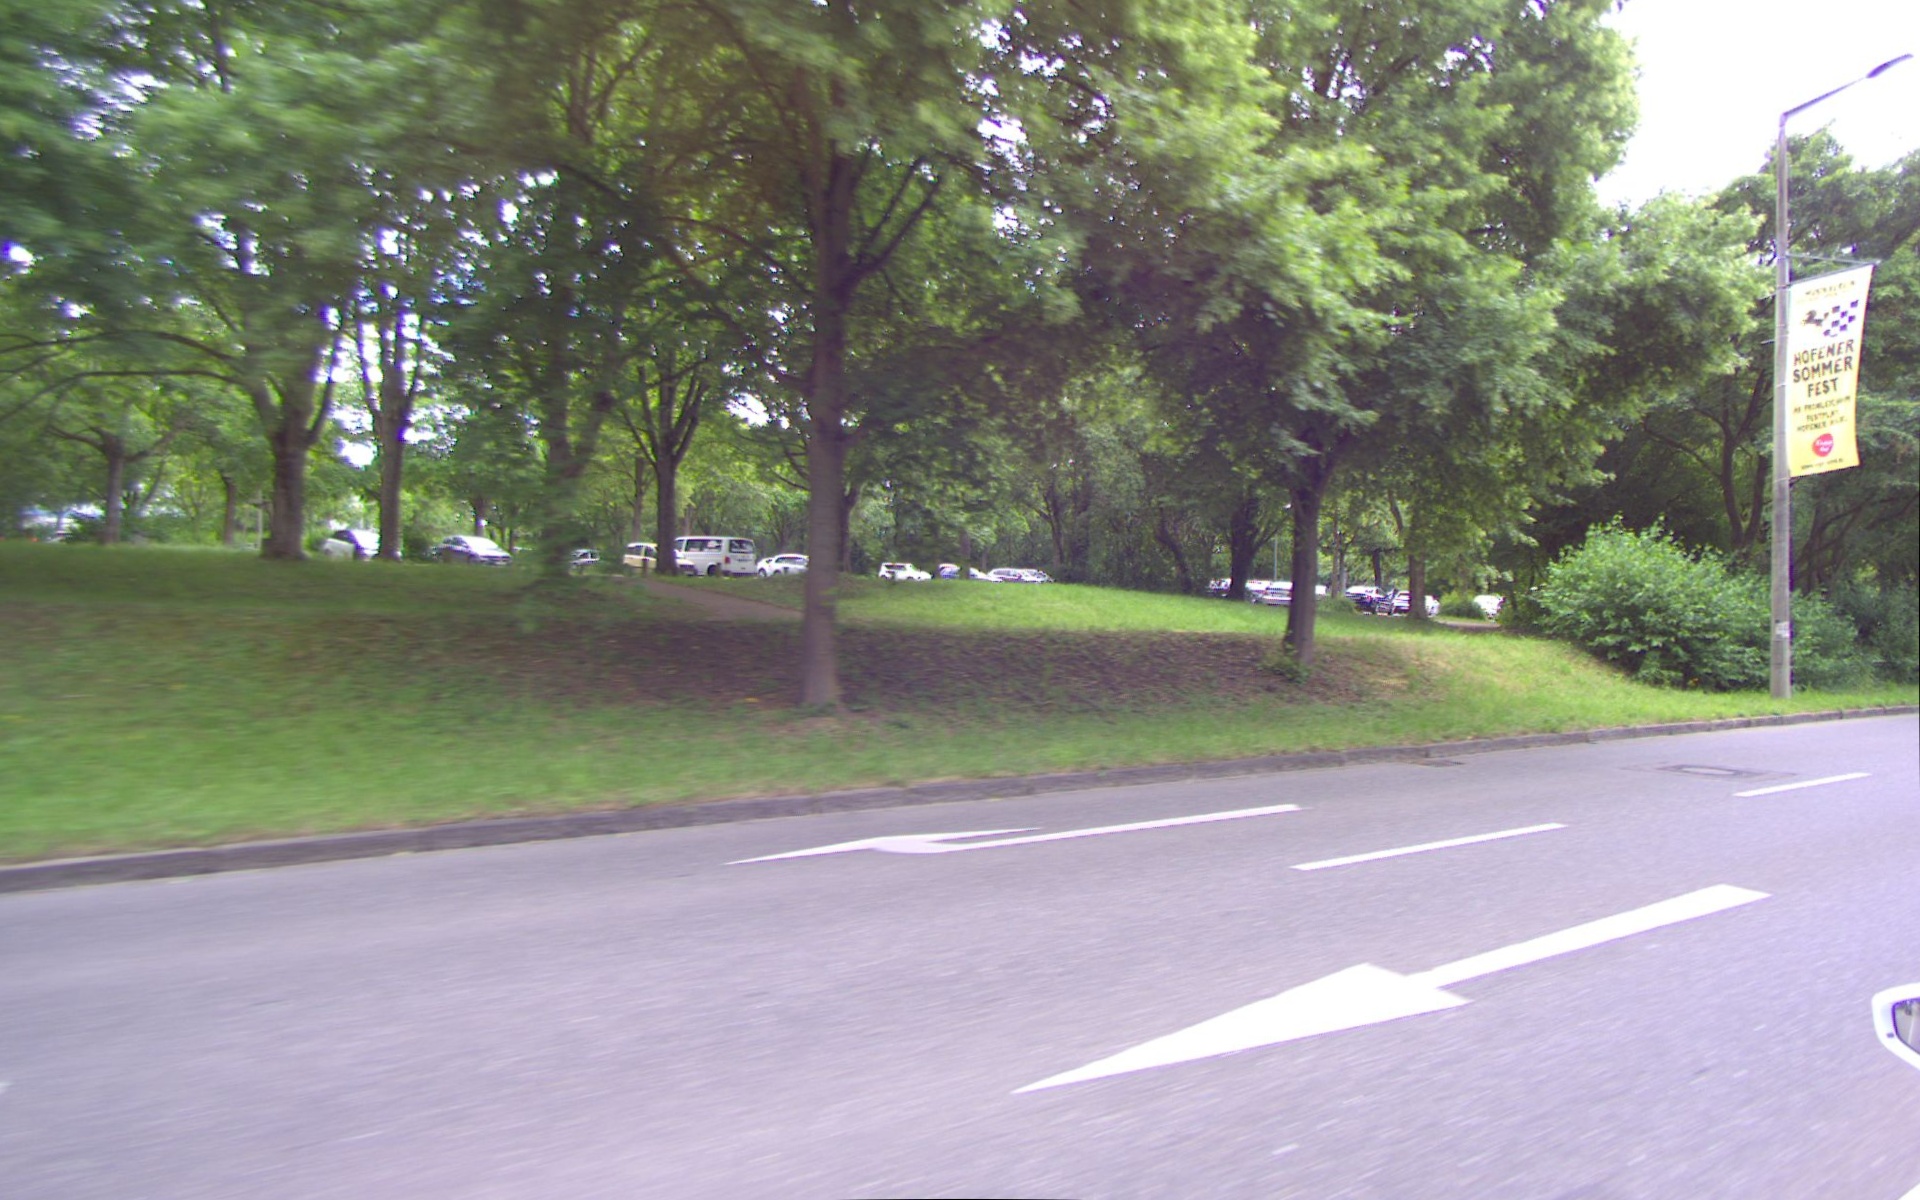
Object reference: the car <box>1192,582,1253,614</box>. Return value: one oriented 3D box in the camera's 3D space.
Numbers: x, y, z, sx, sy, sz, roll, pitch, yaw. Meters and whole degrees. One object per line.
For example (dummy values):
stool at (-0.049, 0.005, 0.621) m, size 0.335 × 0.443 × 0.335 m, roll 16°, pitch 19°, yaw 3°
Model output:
car at (13.273, -0.086, 50.721) m, size 1.624 × 1.506 × 3.986 m, roll 2°, pitch 0°, yaw 36°

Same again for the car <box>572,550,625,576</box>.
car at (-31.398, -3.215, 87.226) m, size 1.871 × 2.087 × 3.973 m, roll 2°, pitch 0°, yaw 35°

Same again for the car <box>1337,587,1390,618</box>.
car at (21.048, 0.152, 52.298) m, size 1.624 × 1.506 × 3.986 m, roll 2°, pitch 0°, yaw 36°

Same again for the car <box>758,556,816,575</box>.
car at (-12.390, -2.483, 71.929) m, size 3.919 × 1.226 × 1.897 m, roll 2°, pitch 0°, yaw 35°

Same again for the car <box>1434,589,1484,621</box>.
car at (25.377, 0.284, 51.003) m, size 1.624 × 1.506 × 3.986 m, roll 2°, pitch 0°, yaw 36°

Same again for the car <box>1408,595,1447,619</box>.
car at (31.016, 0.456, 66.605) m, size 1.624 × 1.506 × 3.986 m, roll 2°, pitch 0°, yaw 36°

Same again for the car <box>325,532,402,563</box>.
car at (-25.486, -2.228, 42.889) m, size 3.448 × 1.250 × 1.396 m, roll 2°, pitch 0°, yaw 32°

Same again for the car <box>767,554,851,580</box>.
car at (-7.611, -1.670, 50.564) m, size 3.919 × 1.226 × 1.897 m, roll 2°, pitch 0°, yaw 35°

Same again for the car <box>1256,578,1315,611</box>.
car at (16.124, -0.235, 49.636) m, size 1.624 × 1.506 × 3.986 m, roll 2°, pitch 0°, yaw 36°

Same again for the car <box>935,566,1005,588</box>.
car at (0.578, -1.419, 61.620) m, size 3.919 × 1.226 × 1.897 m, roll 2°, pitch 0°, yaw 35°

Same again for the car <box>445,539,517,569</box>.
car at (-22.264, -2.129, 46.649) m, size 3.448 × 1.250 × 1.396 m, roll 2°, pitch 0°, yaw 32°

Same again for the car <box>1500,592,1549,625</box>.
car at (27.652, 0.445, 49.169) m, size 1.624 × 1.506 × 3.986 m, roll 2°, pitch 0°, yaw 36°

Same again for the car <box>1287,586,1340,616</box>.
car at (19.059, 0.091, 54.063) m, size 1.624 × 1.506 × 3.986 m, roll 2°, pitch 0°, yaw 36°

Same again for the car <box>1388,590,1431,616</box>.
car at (27.616, 0.175, 61.654) m, size 1.624 × 1.506 × 3.986 m, roll 2°, pitch 0°, yaw 36°

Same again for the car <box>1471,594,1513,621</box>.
car at (31.397, 0.468, 59.256) m, size 1.624 × 1.506 × 3.986 m, roll 2°, pitch 0°, yaw 36°

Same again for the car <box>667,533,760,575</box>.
car at (-10.901, -2.010, 44.315) m, size 4.048 × 1.706 × 1.748 m, roll 2°, pitch 0°, yaw 36°

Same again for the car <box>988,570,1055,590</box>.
car at (4.000, -1.315, 65.703) m, size 3.919 × 1.226 × 1.897 m, roll 2°, pitch 0°, yaw 35°

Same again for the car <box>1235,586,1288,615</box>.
car at (16.857, 0.024, 56.012) m, size 1.624 × 1.506 × 3.986 m, roll 2°, pitch 0°, yaw 36°

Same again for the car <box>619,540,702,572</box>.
car at (-12.498, -1.819, 41.888) m, size 3.448 × 1.226 × 1.396 m, roll 2°, pitch 0°, yaw 32°

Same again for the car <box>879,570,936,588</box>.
car at (-3.891, -1.556, 74.448) m, size 3.919 × 1.226 × 1.897 m, roll 2°, pitch 0°, yaw 35°
